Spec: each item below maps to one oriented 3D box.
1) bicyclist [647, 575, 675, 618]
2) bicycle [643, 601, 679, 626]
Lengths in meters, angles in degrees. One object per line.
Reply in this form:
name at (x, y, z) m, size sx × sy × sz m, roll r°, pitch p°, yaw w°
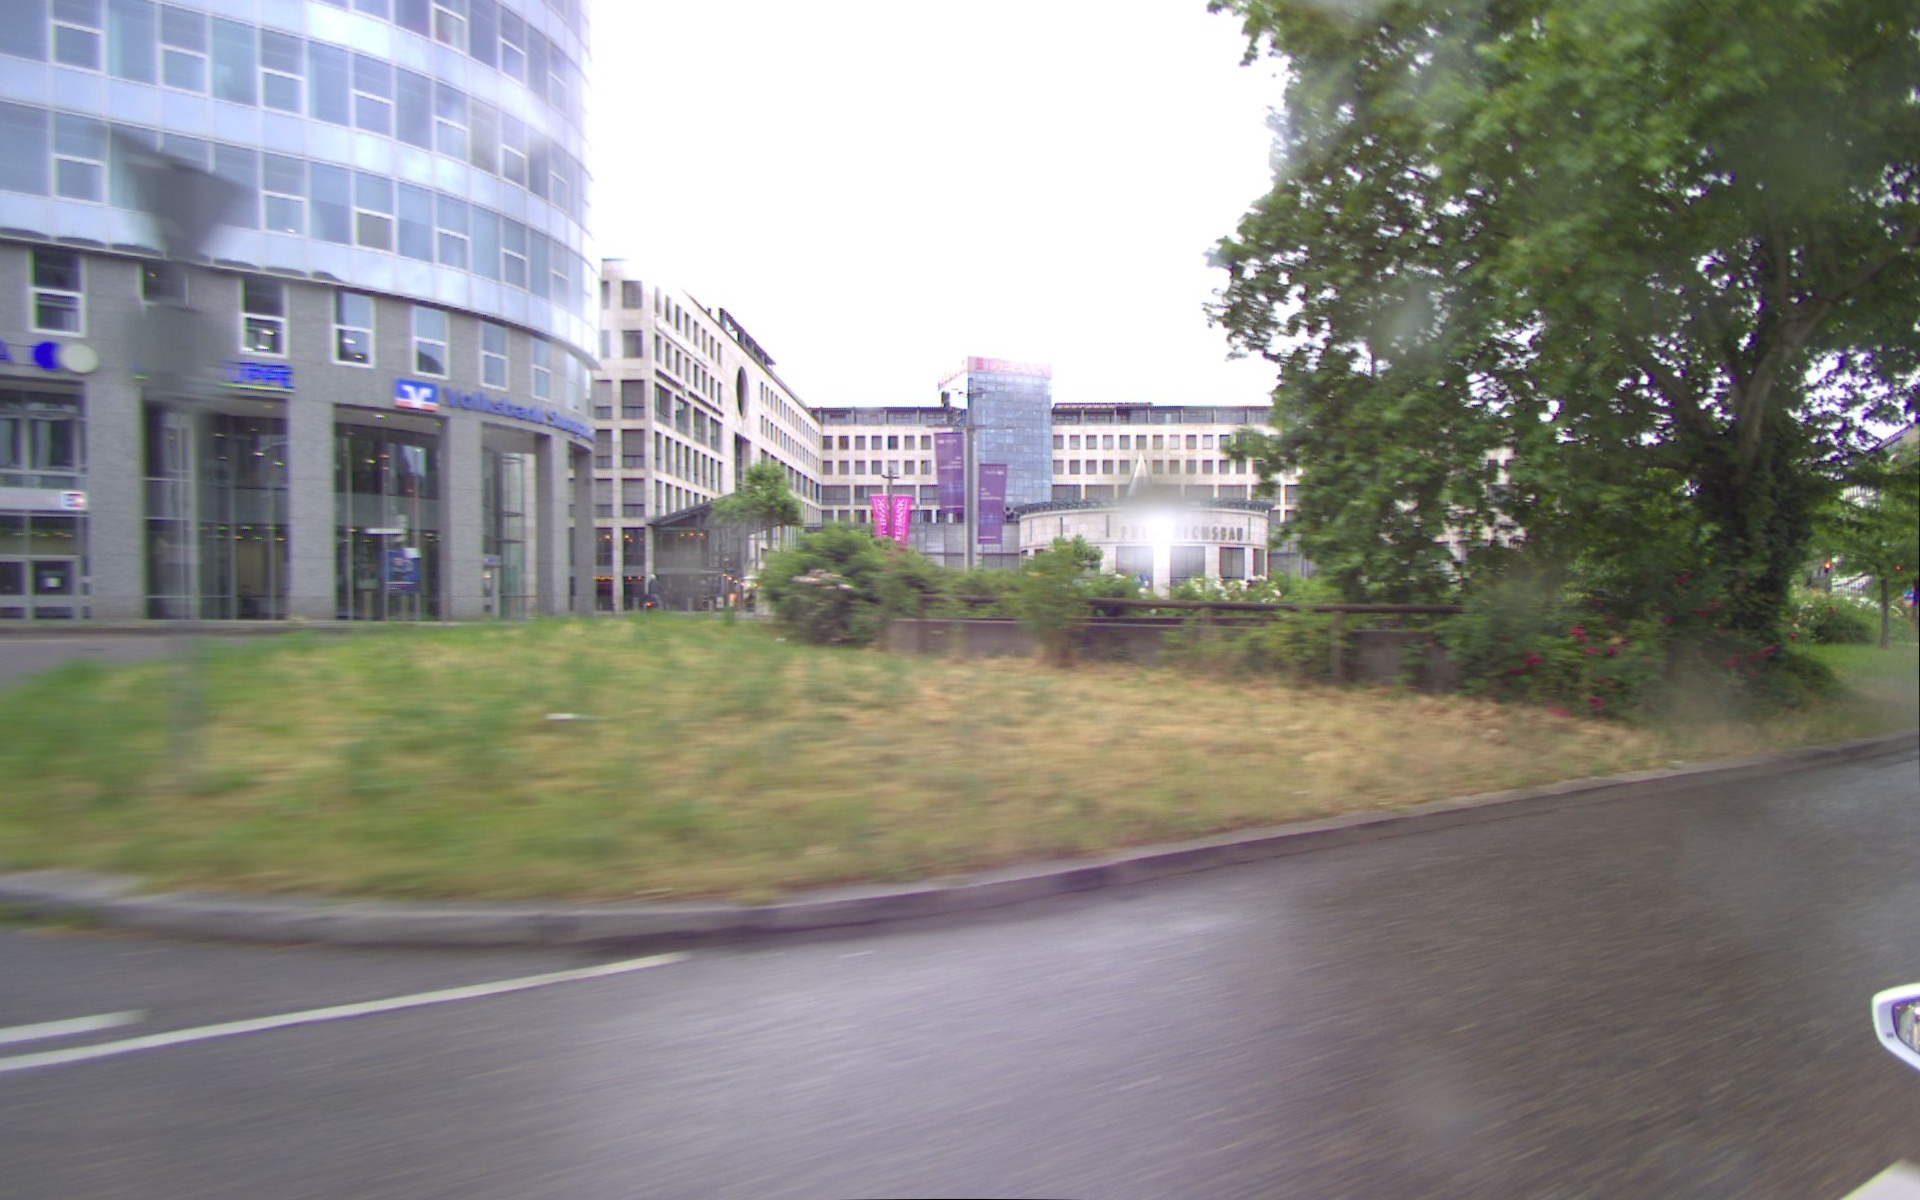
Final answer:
bicyclist at (-12.558, -0.147, 42.212) m, size 0.724 × 1.763 × 1.042 m, roll 0°, pitch 0°, yaw 7°
bicycle at (-12.561, 0.562, 42.219) m, size 0.731 × 1.020 × 1.935 m, roll 0°, pitch -1°, yaw 7°
